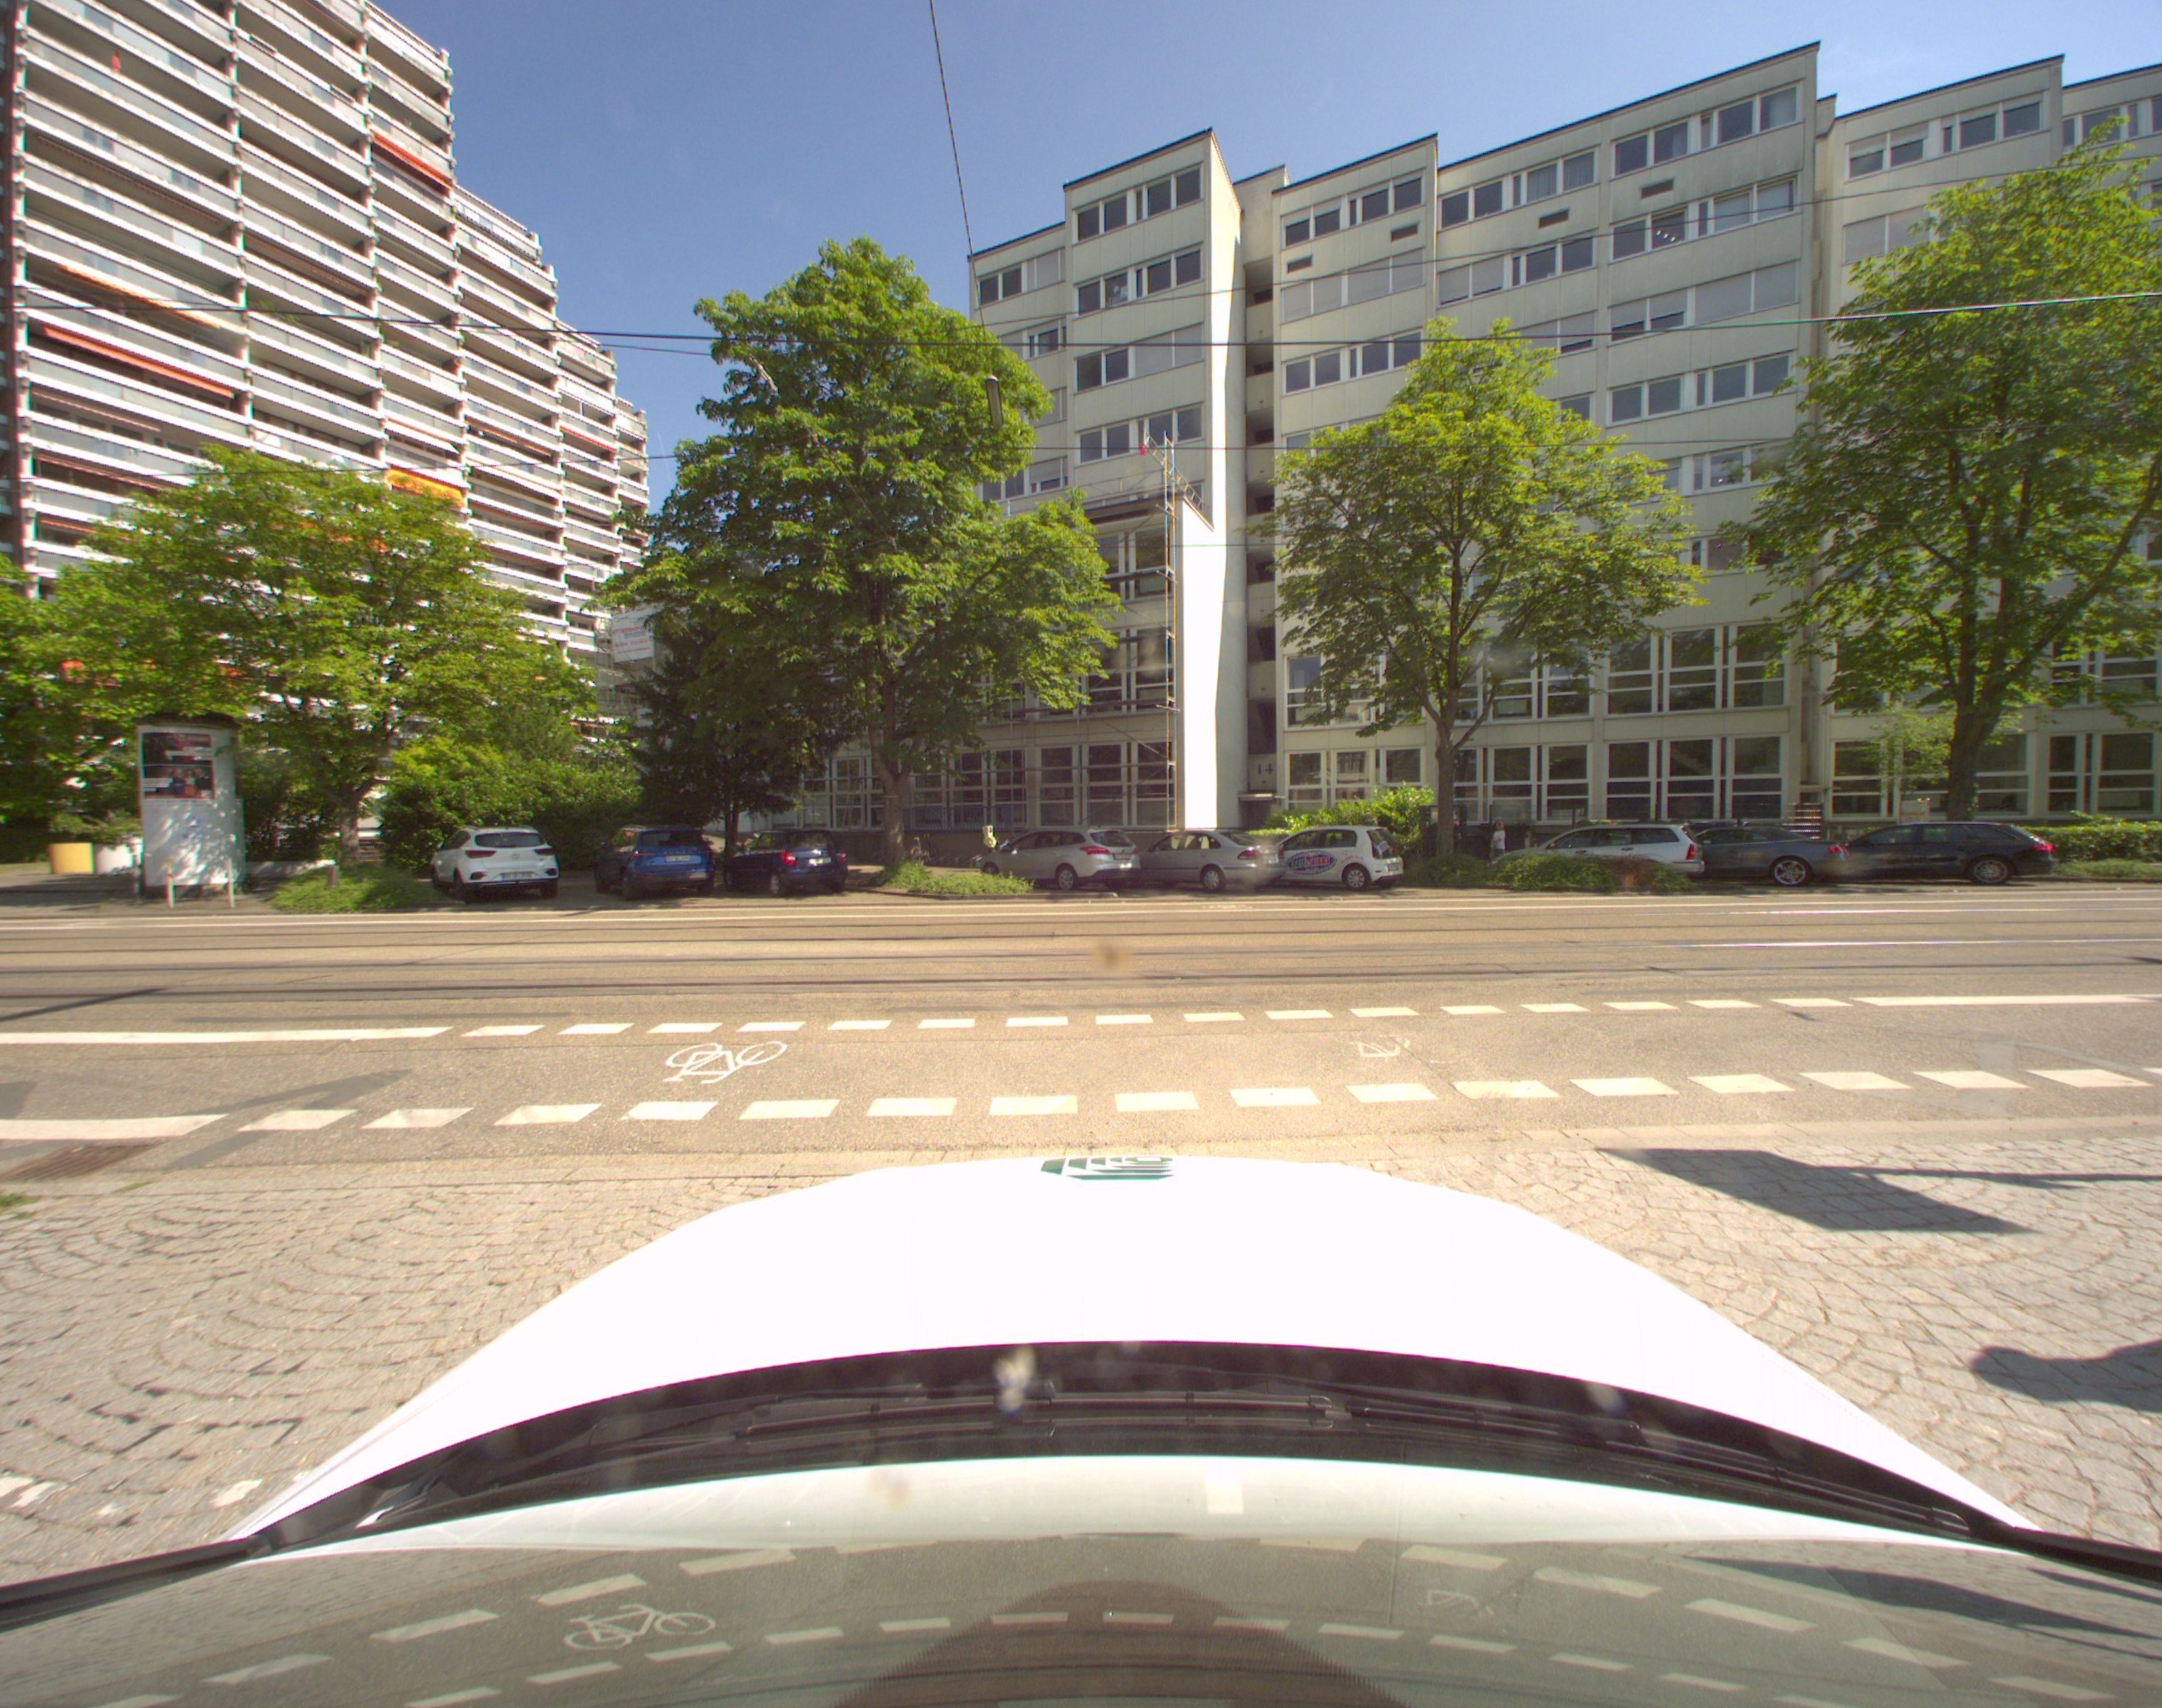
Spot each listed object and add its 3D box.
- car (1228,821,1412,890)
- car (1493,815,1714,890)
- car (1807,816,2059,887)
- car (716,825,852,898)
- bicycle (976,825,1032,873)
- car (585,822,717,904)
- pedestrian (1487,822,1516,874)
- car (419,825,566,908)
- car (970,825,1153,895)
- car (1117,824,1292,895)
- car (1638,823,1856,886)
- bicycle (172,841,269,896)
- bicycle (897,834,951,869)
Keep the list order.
[{"bbox_3d":[5.636,0.011,19.509,1.622,1.486,3.896,-2,2,-45],"label":"car"},{"bbox_3d":[12.433,-0.070,19.556,4.289,1.604,1.568,1,2,41],"label":"car"},{"bbox_3d":[19.456,-0.111,18.853,3.896,1.486,1.568,1,2,44],"label":"car"},{"bbox_3d":[-6.920,0.108,18.853,3.415,1.530,1.586,1,2,44],"label":"car"},{"bbox_3d":[-2.417,-0.181,25.950,0.655,1.453,2.104,0,2,30],"label":"bicycle"},{"bbox_3d":[-9.983,0.107,18.784,1.790,1.622,3.899,-3,5,-41],"label":"car"},{"bbox_3d":[11.971,-0.179,23.196,0.618,1.460,0.424,-1,2,-4],"label":"pedestrian"},{"bbox_3d":[-13.411,0.209,18.478,3.895,1.605,1.831,1,5,42],"label":"car"},{"bbox_3d":[-0.559,0.071,19.432,4.380,1.486,1.795,1,3,44],"label":"car"},{"bbox_3d":[2.837,0.067,19.234,1.622,1.486,3.897,-2,3,-44],"label":"car"},{"bbox_3d":[15.729,-0.041,19.367,3.896,1.357,1.568,1,3,44],"label":"car"},{"bbox_3d":[-21.051,0.348,19.951,1.614,1.308,0.546,-1,1,-7],"label":"bicycle"},{"bbox_3d":[-5.142,-0.108,26.820,0.735,1.085,2.214,0,2,18],"label":"bicycle"}]
